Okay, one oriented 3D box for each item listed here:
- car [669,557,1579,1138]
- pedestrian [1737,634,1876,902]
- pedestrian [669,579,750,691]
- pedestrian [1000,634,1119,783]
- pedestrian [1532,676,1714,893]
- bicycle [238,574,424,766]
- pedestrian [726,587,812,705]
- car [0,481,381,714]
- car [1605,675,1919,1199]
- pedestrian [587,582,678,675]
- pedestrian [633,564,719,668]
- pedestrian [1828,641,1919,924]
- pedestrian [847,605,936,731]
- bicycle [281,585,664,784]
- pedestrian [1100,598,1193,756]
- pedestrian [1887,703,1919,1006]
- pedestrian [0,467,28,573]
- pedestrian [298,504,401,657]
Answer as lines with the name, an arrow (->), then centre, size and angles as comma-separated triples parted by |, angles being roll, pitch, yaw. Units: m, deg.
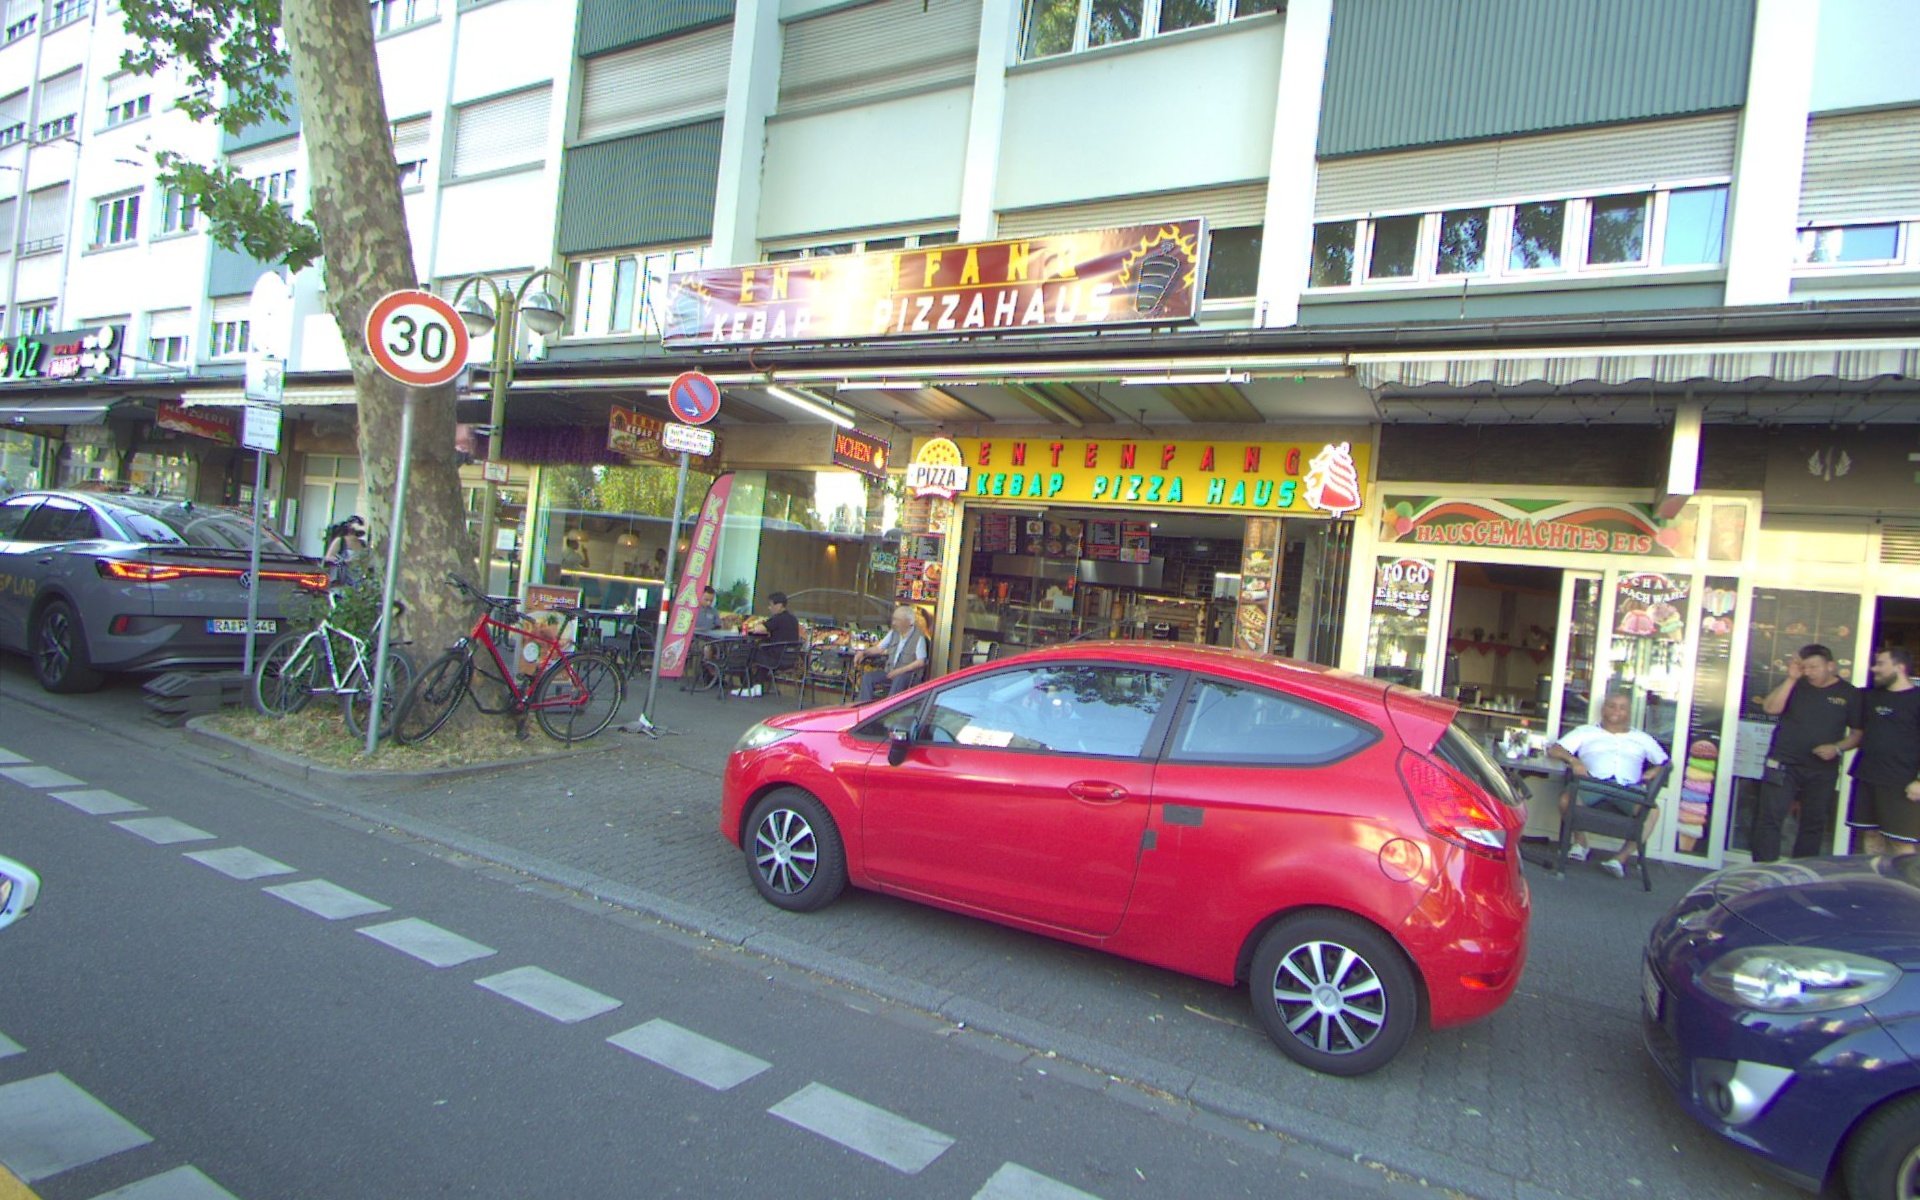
car -> 0.666, 0.789, 4.926 | 3.757, 1.617, 1.783 | 6, 3, 28
pedestrian -> 6.045, 1.170, 7.213 | 0.547, 1.802, 0.395 | 6, 2, 29
pedestrian -> -3.045, 0.427, 12.225 | 0.680, 1.261, 0.557 | 7, 2, 38
pedestrian -> 0.932, 0.978, 9.354 | 0.798, 1.225, 0.654 | 7, 2, 28
pedestrian -> 4.885, 1.304, 7.508 | 0.937, 1.352, 1.069 | 7, 0, 30
bicycle -> -4.545, 0.469, 7.238 | 1.421, 1.169, 0.553 | 6, 0, 36
pedestrian -> -2.217, 0.529, 11.704 | 0.679, 1.261, 0.558 | 7, 2, 33
car -> -7.678, -0.156, 9.248 | 4.292, 1.603, 1.996 | 7, 2, 27
car -> 4.095, 1.230, 2.858 | 3.549, 1.488, 1.767 | 6, 3, 29
pedestrian -> -4.296, 0.364, 13.238 | 0.940, 1.094, 0.639 | 7, 0, -9
pedestrian -> -4.058, 0.221, 14.433 | 0.958, 1.350, 0.830 | 6, 0, -9
pedestrian -> 6.375, 1.207, 6.780 | 0.391, 1.805, 0.552 | 4, 2, -29
pedestrian -> -0.728, 0.715, 10.791 | 0.550, 1.252, 0.689 | 7, 2, 29
bicycle -> -3.323, 0.523, 7.100 | 0.547, 1.171, 2.377 | 7, 4, 44
pedestrian -> 1.995, 0.816, 10.732 | 0.589, 1.566, 0.700 | 7, 0, 34
pedestrian -> 5.243, 1.036, 4.828 | 0.875, 1.983, 0.647 | 7, 1, 31
pedestrian -> -18.989, -1.601, 19.763 | 0.773, 2.038, 0.686 | 7, 1, 32
pedestrian -> -7.135, -0.224, 11.759 | 0.783, 1.667, 0.583 | 7, 1, 30
